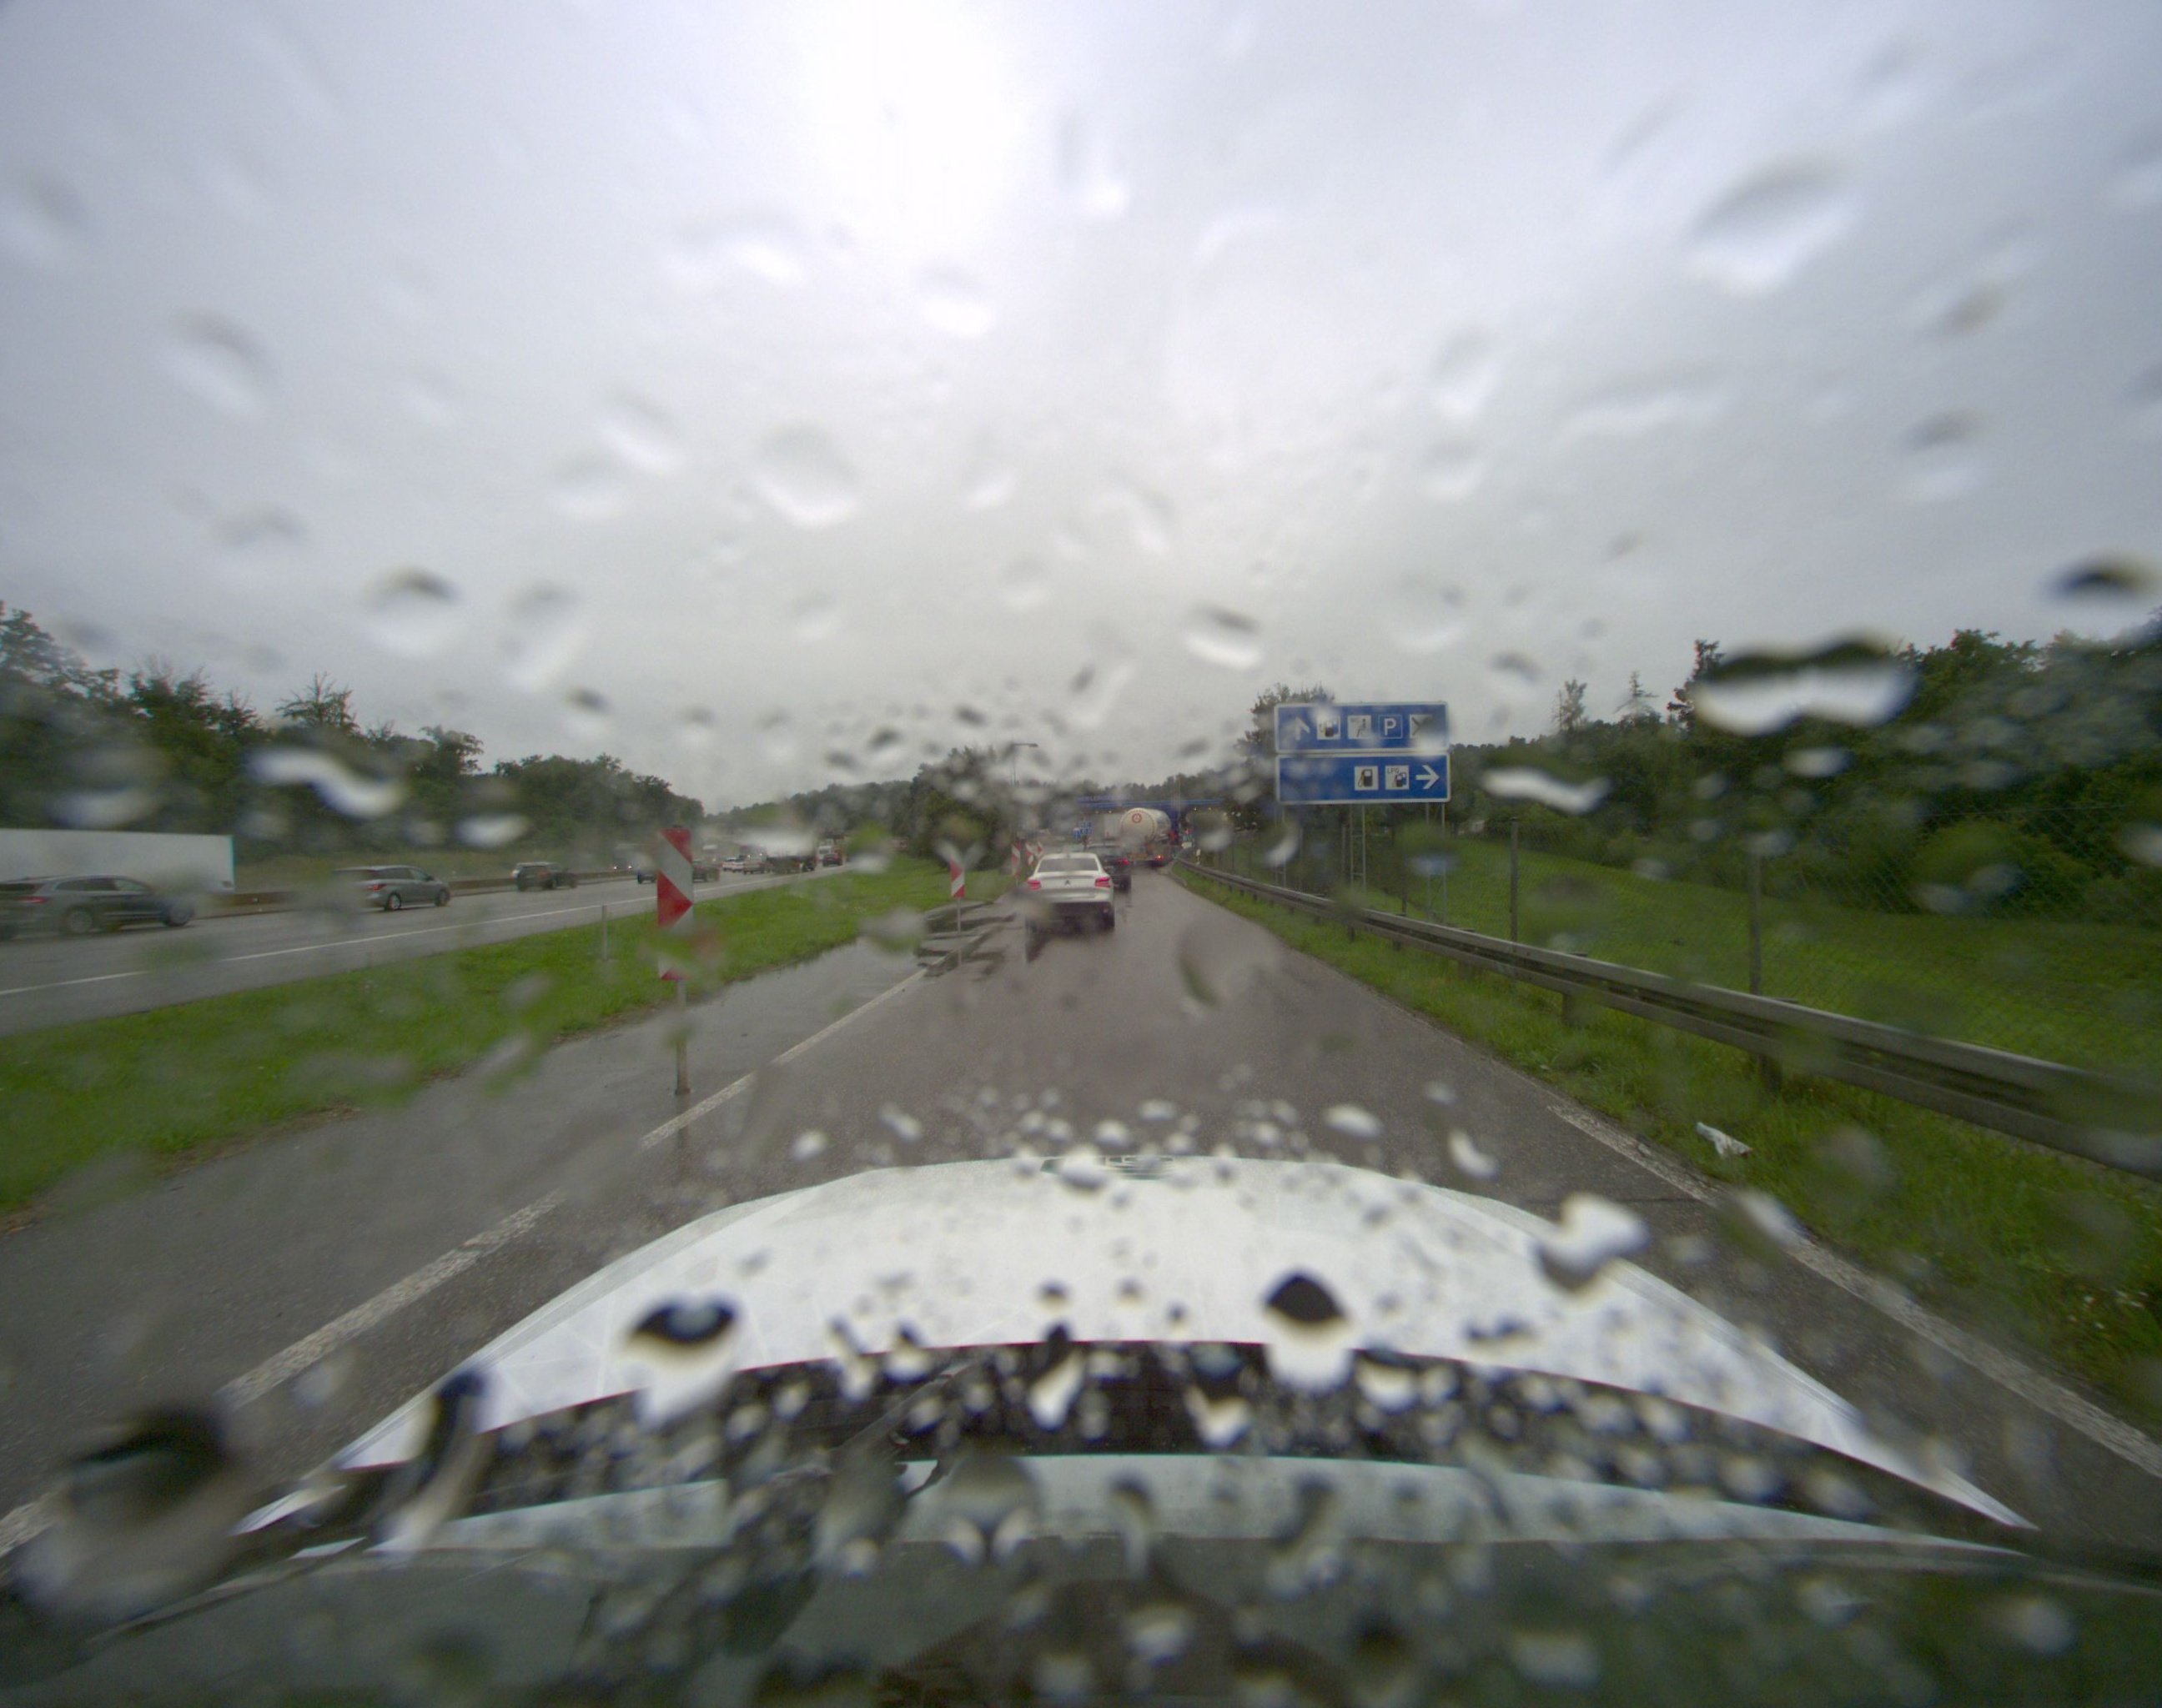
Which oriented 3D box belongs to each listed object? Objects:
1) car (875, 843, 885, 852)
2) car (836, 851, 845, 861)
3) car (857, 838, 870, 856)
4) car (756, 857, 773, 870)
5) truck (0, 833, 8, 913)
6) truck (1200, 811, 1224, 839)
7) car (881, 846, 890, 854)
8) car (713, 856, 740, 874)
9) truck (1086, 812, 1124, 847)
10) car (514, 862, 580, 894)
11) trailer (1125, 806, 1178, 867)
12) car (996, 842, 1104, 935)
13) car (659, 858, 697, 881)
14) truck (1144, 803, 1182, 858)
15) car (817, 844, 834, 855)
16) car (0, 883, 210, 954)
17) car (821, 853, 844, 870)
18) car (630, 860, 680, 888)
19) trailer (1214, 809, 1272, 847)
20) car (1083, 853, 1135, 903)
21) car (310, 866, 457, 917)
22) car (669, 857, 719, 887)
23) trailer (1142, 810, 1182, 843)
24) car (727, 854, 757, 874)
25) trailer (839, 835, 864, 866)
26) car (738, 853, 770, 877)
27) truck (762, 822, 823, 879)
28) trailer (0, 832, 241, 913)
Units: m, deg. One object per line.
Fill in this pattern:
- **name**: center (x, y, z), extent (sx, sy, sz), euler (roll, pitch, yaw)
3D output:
- **car**: center (-45.217, -1.415, 183.432), extent (1.998, 2.014, 3.977), euler (1, 0, -17)
- **car**: center (-53.455, 0.429, 180.891), extent (1.678, 2.014, 3.976), euler (5, -2, -17)
- **car**: center (-42.930, -1.398, 160.880), extent (2.377, 3.485, 4.790), euler (1, 0, -15)
- **car**: center (-46.367, 1.341, 119.377), extent (1.699, 1.787, 3.770), euler (0, 0, -12)
- **truck**: center (-47.393, 0.841, 32.301), extent (2.647, 3.451, 5.581), euler (-2, 0, -10)
- **truck**: center (18.782, -4.221, 117.025), extent (2.421, 3.805, 3.995), euler (-3, 2, -4)
- **car**: center (-48.659, -0.980, 202.795), extent (1.998, 2.014, 3.977), euler (1, 0, -17)
- **car**: center (-41.122, 1.268, 94.529), extent (1.994, 2.013, 3.985), euler (-3, 0, -11)
- **truck**: center (2.820, -3.024, 99.911), extent (2.370, 3.873, 12.418), euler (-3, 2, -9)
- **car**: center (-32.204, 1.422, 49.270), extent (1.776, 1.736, 4.086), euler (-3, 0, -10)
- **trailer**: center (4.394, -1.102, 49.112), extent (1.967, 3.224, 10.355), euler (-1, 2, 11)
- **car**: center (-0.546, 0.636, 17.135), extent (1.987, 1.679, 4.000), euler (-1, 0, 1)
- **car**: center (-36.879, 1.396, 74.562), extent (1.994, 2.013, 3.986), euler (-3, 0, -10)
- **truck**: center (5.675, -1.600, 55.644), extent (2.039, 3.530, 4.762), euler (-1, 1, 12)
- **car**: center (-41.442, -0.763, 132.099), extent (1.992, 1.816, 3.989), euler (0, 0, -8)
- **car**: center (-26.957, 1.690, 22.310), extent (1.717, 1.574, 4.449), euler (-3, 0, -7)
- **car**: center (-28.585, 0.842, 93.700), extent (1.994, 1.815, 3.985), euler (-2, 0, -11)
- **car**: center (-29.235, 1.349, 56.008), extent (1.775, 1.736, 4.087), euler (-2, 0, -9)
- **trailer**: center (15.995, -2.579, 79.501), extent (2.111, 3.440, 10.319), euler (-1, 2, 31)
- **car**: center (1.025, 0.809, 29.608), extent (1.736, 1.667, 4.002), euler (1, 0, 2)
- **car**: center (-24.462, 1.258, 28.794), extent (1.787, 1.526, 4.324), euler (-2, 0, -7)
- **car**: center (-24.281, 1.067, 51.201), extent (1.776, 1.736, 3.834), euler (-2, 0, -10)
- **trailer**: center (11.021, -3.766, 112.256), extent (3.212, 4.188, 11.505), euler (-1, 2, -7)
- **car**: center (-34.870, 1.028, 83.853), extent (1.994, 2.014, 3.985), euler (1, 0, -11)
- **trailer**: center (-36.519, -0.537, 129.788), extent (3.555, 4.612, 12.056), euler (-3, 0, -15)
- **car**: center (-28.756, 0.932, 71.731), extent (1.789, 1.971, 4.318), euler (-1, 0, -11)
- **truck**: center (-24.364, -0.247, 69.459), extent (2.850, 4.292, 11.799), euler (-3, 0, -10)
- **trailer**: center (-48.836, 0.850, 40.313), extent (2.649, 3.497, 13.437), euler (-2, 0, -10)
